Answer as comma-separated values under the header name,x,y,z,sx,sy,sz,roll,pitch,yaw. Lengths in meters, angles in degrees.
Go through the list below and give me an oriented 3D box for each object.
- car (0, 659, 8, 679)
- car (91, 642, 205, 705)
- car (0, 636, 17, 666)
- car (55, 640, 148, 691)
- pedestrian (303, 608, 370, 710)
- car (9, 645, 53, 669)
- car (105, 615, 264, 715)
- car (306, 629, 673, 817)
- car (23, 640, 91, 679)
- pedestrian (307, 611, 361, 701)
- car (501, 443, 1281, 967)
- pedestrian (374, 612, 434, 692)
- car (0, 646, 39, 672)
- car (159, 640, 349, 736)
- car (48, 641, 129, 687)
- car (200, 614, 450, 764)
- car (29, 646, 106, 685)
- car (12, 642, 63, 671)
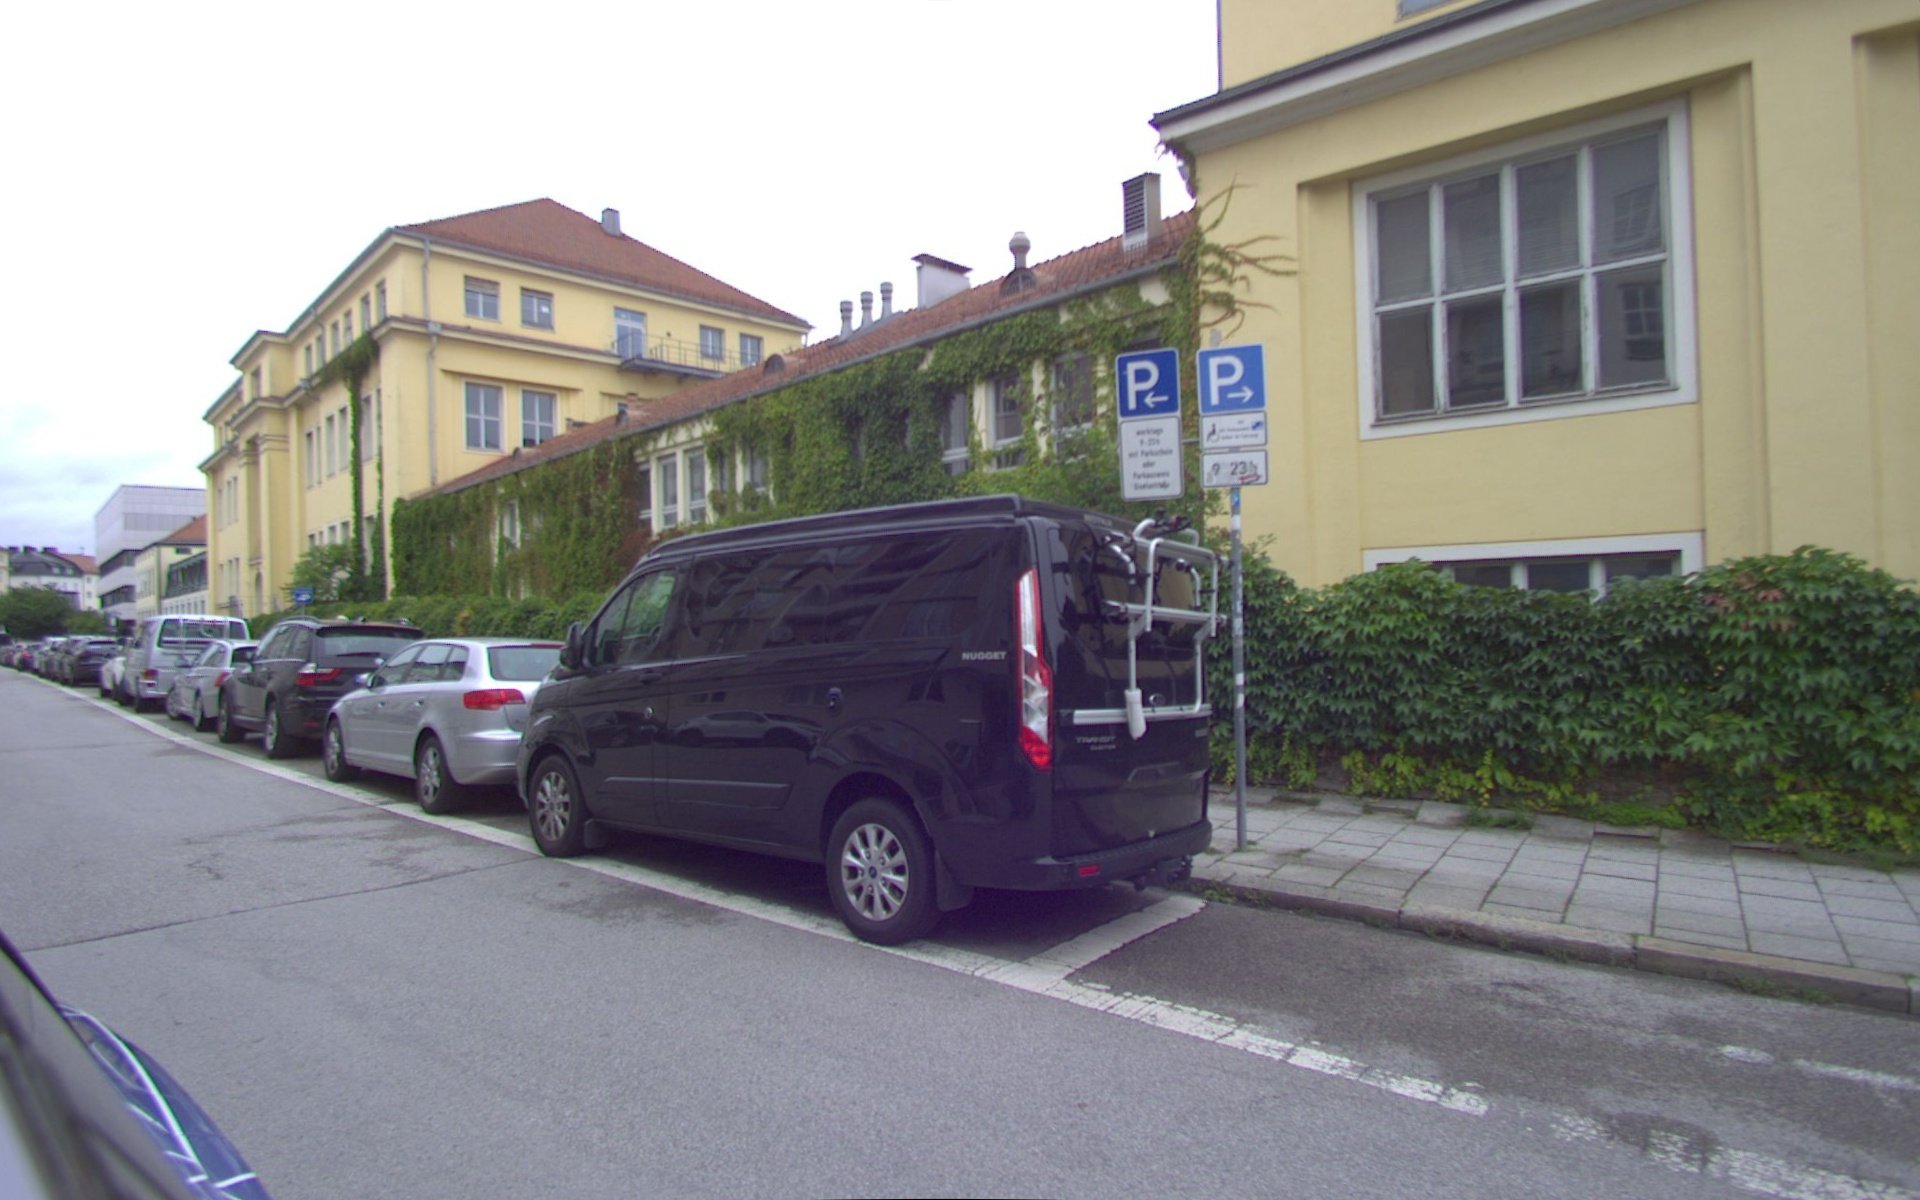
name,x,y,z,sx,sy,sz,roll,pitch,yaw
car,-78.660,5.613,82.352,1.650,1.529,3.949,1,-3,-45
car,-19.629,1.742,24.428,3.559,1.420,1.648,-3,-5,44
car,-86.906,4.602,90.504,6.885,2.571,2.812,-3,-2,39
car,-26.848,2.046,31.596,4.221,1.492,1.698,-3,-6,44
pedestrian,-11.247,1.042,18.253,0.833,1.768,0.873,0,-2,-44
car,-56.221,3.462,61.223,1.791,1.408,4.022,3,-4,-45
car,-16.054,1.343,20.845,1.871,1.812,4.883,6,-6,-45
car,-4.523,1.039,9.459,4.001,1.376,1.688,-3,-6,43
car,-40.266,2.639,45.099,4.299,1.653,1.762,-3,-5,43
pedestrian,-11.934,1.049,19.290,0.872,1.665,0.675,-3,-2,44
car,-0.690,0.514,6.086,4.618,1.994,1.906,-3,-4,40
pedestrian,-10.917,1.010,19.872,0.833,1.506,0.873,0,-2,-44
car,-60.116,3.761,64.611,1.749,1.567,4.212,4,-4,-45
car,-11.895,1.406,16.920,1.783,1.388,4.493,6,-6,-45
car,-30.360,2.211,35.211,4.275,1.514,1.749,-3,-4,44
car,-8.389,1.084,13.191,4.492,1.619,1.683,-3,-5,44
car,-34.807,2.544,39.428,4.601,1.419,1.753,-3,-6,43
car,-47.357,2.902,51.954,1.714,1.450,3.781,4,-5,-45
